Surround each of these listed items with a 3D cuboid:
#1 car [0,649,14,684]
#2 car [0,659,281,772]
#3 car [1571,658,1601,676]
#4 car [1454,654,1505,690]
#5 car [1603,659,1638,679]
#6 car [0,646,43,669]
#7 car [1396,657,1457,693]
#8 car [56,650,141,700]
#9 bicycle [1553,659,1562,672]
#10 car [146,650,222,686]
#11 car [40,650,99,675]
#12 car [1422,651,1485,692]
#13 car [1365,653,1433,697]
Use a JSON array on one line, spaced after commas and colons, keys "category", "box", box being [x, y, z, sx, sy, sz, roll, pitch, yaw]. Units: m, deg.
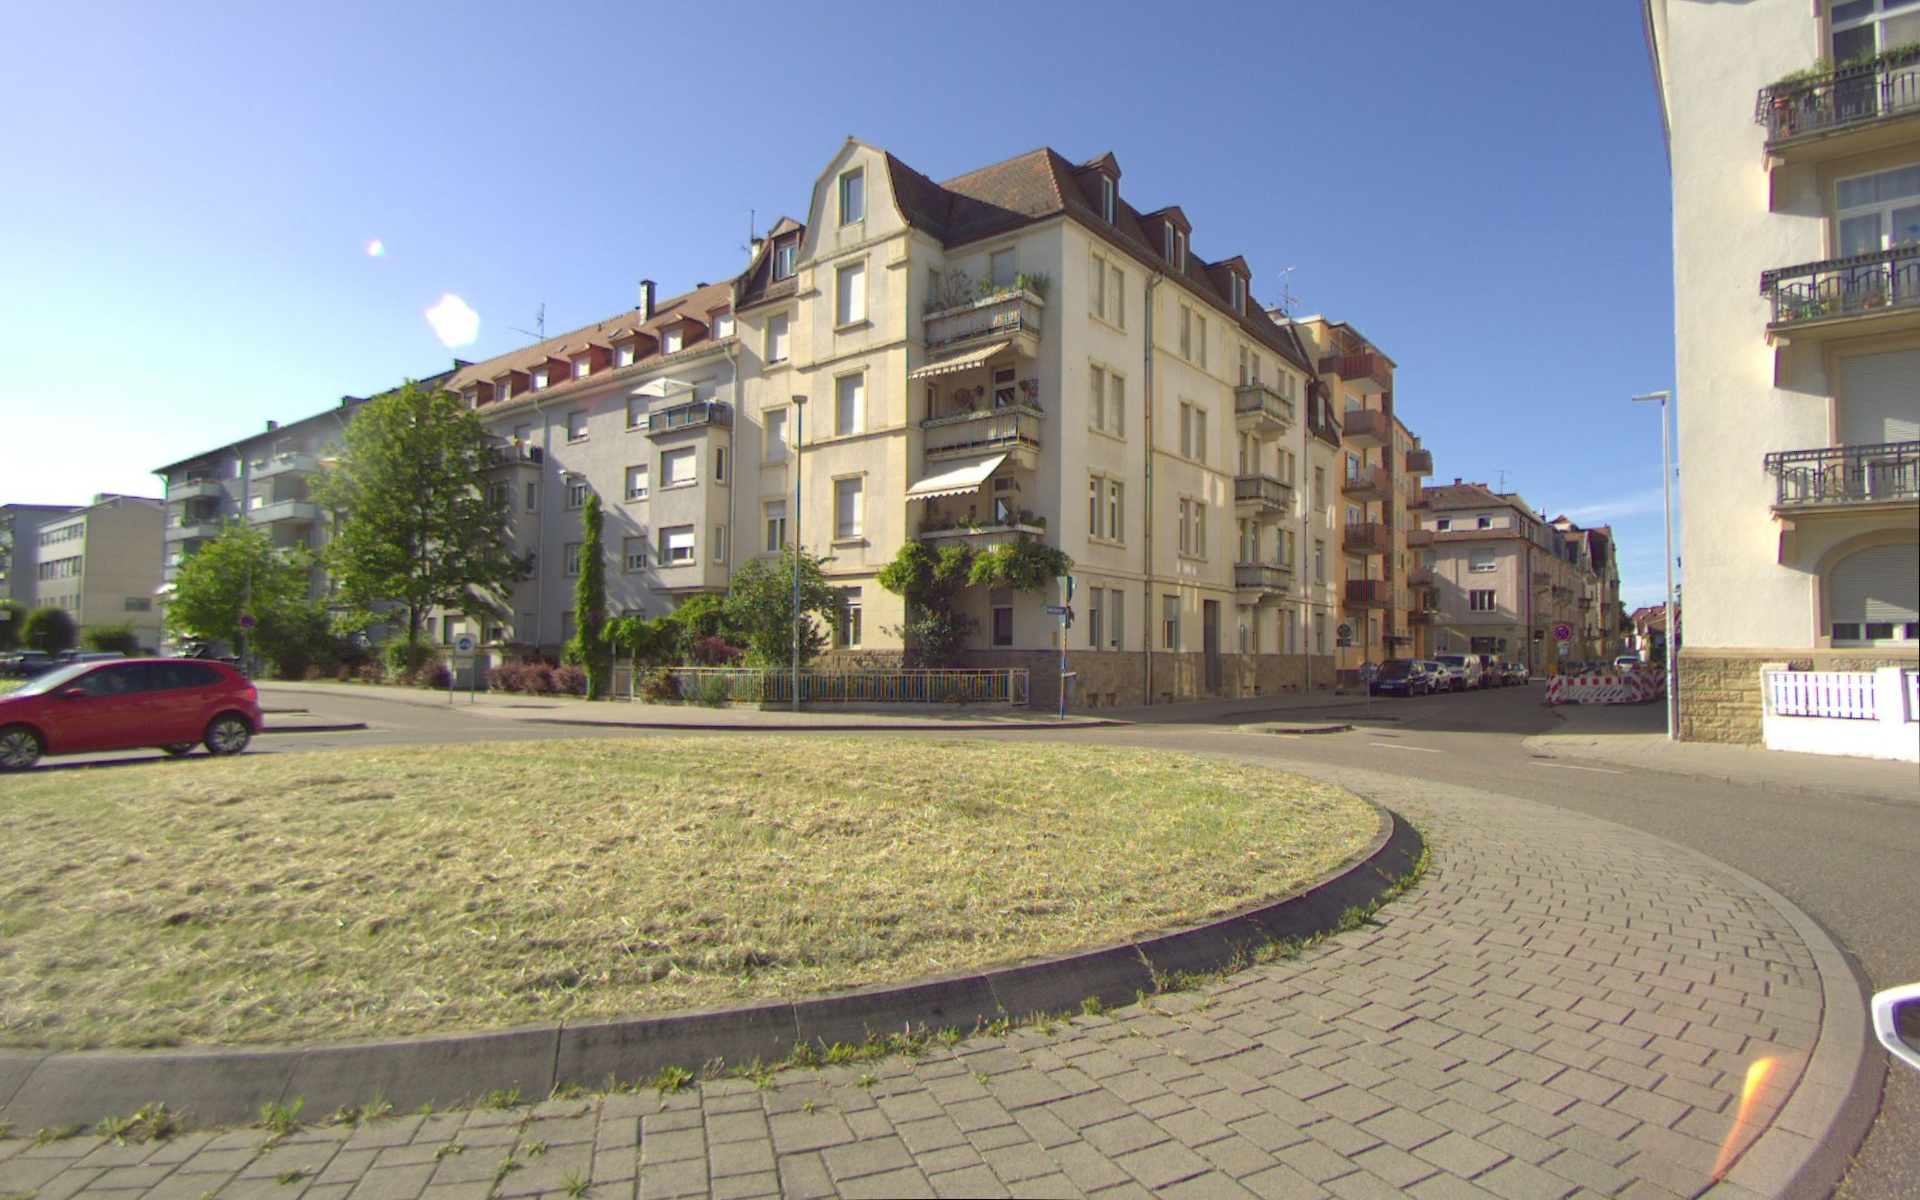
[{"category": "car", "box": [-43.248, 2.831, 42.733, 1.819, 1.505, 3.991, -2, -4, 32]}, {"category": "car", "box": [-12.253, 1.575, 14.274, 1.687, 1.400, 3.992, -3, -4, 31]}, {"category": "car", "box": [59.714, 6.403, 95.726, 1.978, 1.603, 4.471, 1, -3, 38]}, {"category": "car", "box": [29.873, 4.091, 57.662, 1.741, 1.950, 4.915, 0, -3, 38]}, {"category": "car", "box": [50.230, 5.260, 76.357, 1.817, 1.449, 4.012, -3, -6, 39]}, {"category": "car", "box": [-59.693, 3.608, 63.529, 3.939, 1.398, 1.844, -2, -4, 39]}, {"category": "car", "box": [22.484, 3.576, 48.312, 1.741, 1.642, 4.278, -1, -3, 38]}, {"category": "car", "box": [-32.943, 2.818, 38.380, 4.211, 1.718, 1.871, -2, -3, 41]}, {"category": "bicycle", "box": [60.576, 6.672, 101.862, 0.534, 1.318, 1.858, 0, -3, 39]}, {"category": "car", "box": [-35.316, 3.088, 45.688, 3.939, 1.559, 1.844, -2, -4, 39]}, {"category": "car", "box": [-50.740, 3.555, 57.236, 3.939, 1.398, 1.844, -2, -4, 39]}, {"category": "car", "box": [25.843, 3.702, 52.515, 1.951, 1.950, 5.288, 0, -3, 38]}, {"category": "car", "box": [19.313, 3.252, 44.142, 1.741, 1.794, 4.277, 0, -3, 38]}]
